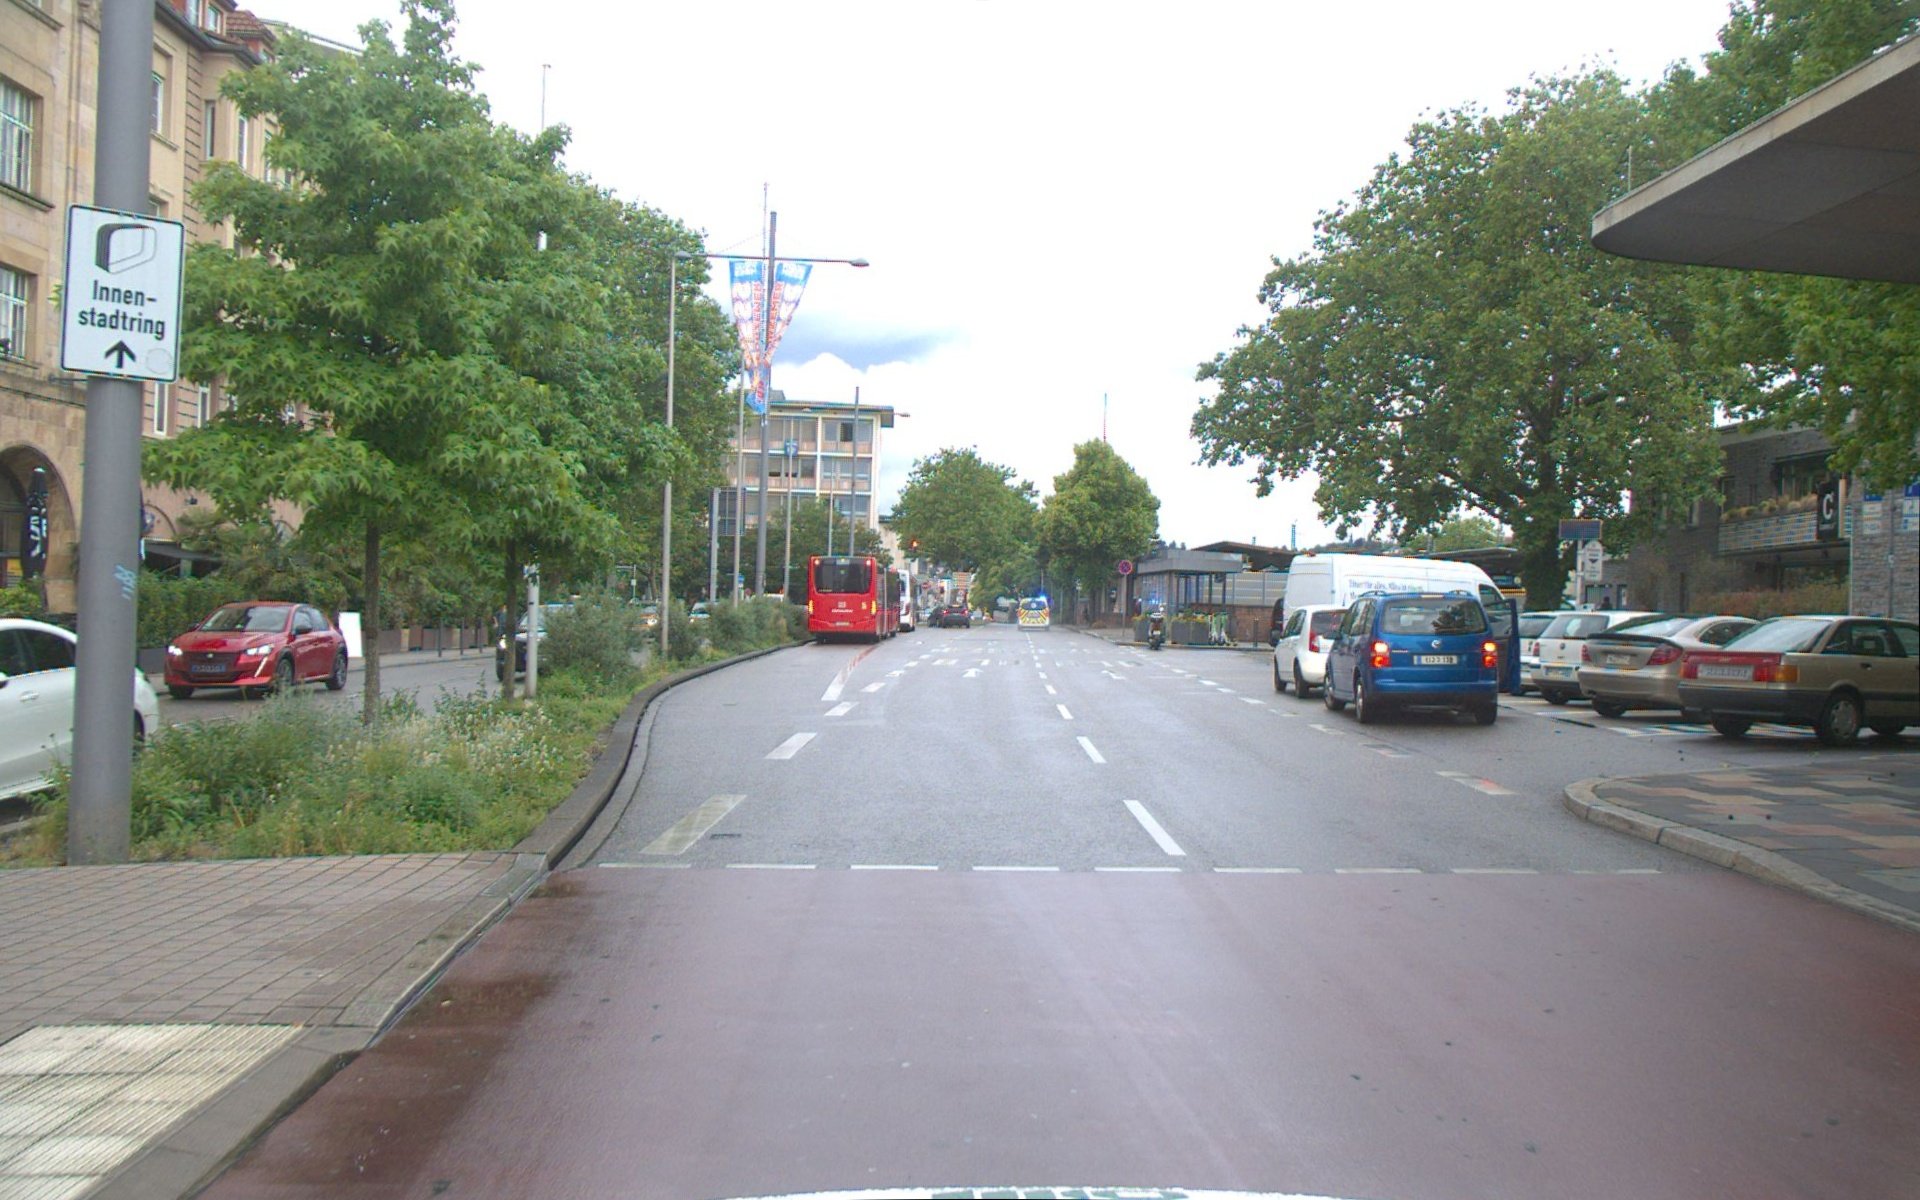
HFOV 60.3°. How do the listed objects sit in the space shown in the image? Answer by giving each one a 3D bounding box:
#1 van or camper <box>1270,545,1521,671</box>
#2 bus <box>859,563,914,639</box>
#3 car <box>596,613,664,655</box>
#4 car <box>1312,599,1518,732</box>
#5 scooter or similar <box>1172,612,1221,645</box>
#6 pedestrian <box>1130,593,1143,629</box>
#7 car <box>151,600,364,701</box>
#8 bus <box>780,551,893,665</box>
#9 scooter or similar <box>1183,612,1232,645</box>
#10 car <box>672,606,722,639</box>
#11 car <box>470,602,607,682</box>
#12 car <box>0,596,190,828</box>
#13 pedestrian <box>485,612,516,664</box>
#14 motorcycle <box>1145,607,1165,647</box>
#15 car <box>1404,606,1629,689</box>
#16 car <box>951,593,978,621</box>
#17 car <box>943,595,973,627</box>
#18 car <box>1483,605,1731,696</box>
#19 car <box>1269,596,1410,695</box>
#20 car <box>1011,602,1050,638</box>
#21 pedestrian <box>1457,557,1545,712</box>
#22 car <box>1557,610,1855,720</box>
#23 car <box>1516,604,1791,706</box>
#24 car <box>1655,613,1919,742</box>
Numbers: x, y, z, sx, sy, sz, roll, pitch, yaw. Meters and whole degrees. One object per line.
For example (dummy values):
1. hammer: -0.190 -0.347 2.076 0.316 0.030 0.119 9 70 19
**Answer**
1. van or camper: 10.391 0.151 39.360 5.879 2.811 2.178 -1 0 -28
2. bus: -3.991 0.069 90.271 2.749 3.812 10.440 -1 0 -2
3. car: -12.114 1.227 60.891 1.711 1.455 3.952 -1 0 -1
4. car: 5.902 0.813 21.923 1.820 1.596 4.001 0 -1 3
5. scooter or similar: 8.437 0.998 58.919 2.131 1.129 0.421 -1 0 -41
6. pedestrian: 9.178 0.558 86.185 0.609 1.848 0.598 0 0 -1
7. car: -11.027 0.749 26.254 1.711 1.455 3.952 -1 0 -1
8. bus: -4.680 0.296 65.060 3.472 4.049 11.171 -1 0 0
9. scooter or similar: 8.778 0.987 58.558 2.131 1.129 0.437 -1 0 -41
10. car: -12.189 1.024 76.772 1.711 1.455 3.952 -1 0 -1
11. car: -8.247 0.790 32.706 1.711 1.455 3.952 -1 0 -1
12. car: -7.480 0.757 11.671 1.953 1.570 4.632 0 0 -1
13. pedestrian: -17.345 1.429 62.439 0.836 1.933 0.941 -1 -1 -37
14. motorcycle: 6.626 0.907 56.169 0.582 1.310 1.954 0 0 5
15. car: 10.471 0.860 31.106 3.940 1.468 1.848 1 -1 -28
16. car: 0.310 0.505 124.960 1.953 2.049 3.999 -1 0 -1
17. car: -0.155 0.713 109.430 1.953 2.049 3.999 -1 0 -1
18. car: 11.023 0.830 28.164 3.940 1.468 1.848 1 -1 -28
19. car: 6.320 0.733 27.889 1.750 1.549 3.683 0 -1 4
20. car: 4.181 1.186 98.846 1.953 2.049 5.060 -1 0 -1
21. pedestrian: 7.306 0.459 22.380 0.815 2.049 0.888 -1 0 -5
22. car: 10.192 0.838 22.554 3.947 1.383 1.845 1 -1 -32
23. car: 10.684 0.811 25.454 3.940 1.468 1.848 1 -1 -28
24. car: 10.225 0.828 18.888 4.125 1.348 1.829 0 -1 -21
